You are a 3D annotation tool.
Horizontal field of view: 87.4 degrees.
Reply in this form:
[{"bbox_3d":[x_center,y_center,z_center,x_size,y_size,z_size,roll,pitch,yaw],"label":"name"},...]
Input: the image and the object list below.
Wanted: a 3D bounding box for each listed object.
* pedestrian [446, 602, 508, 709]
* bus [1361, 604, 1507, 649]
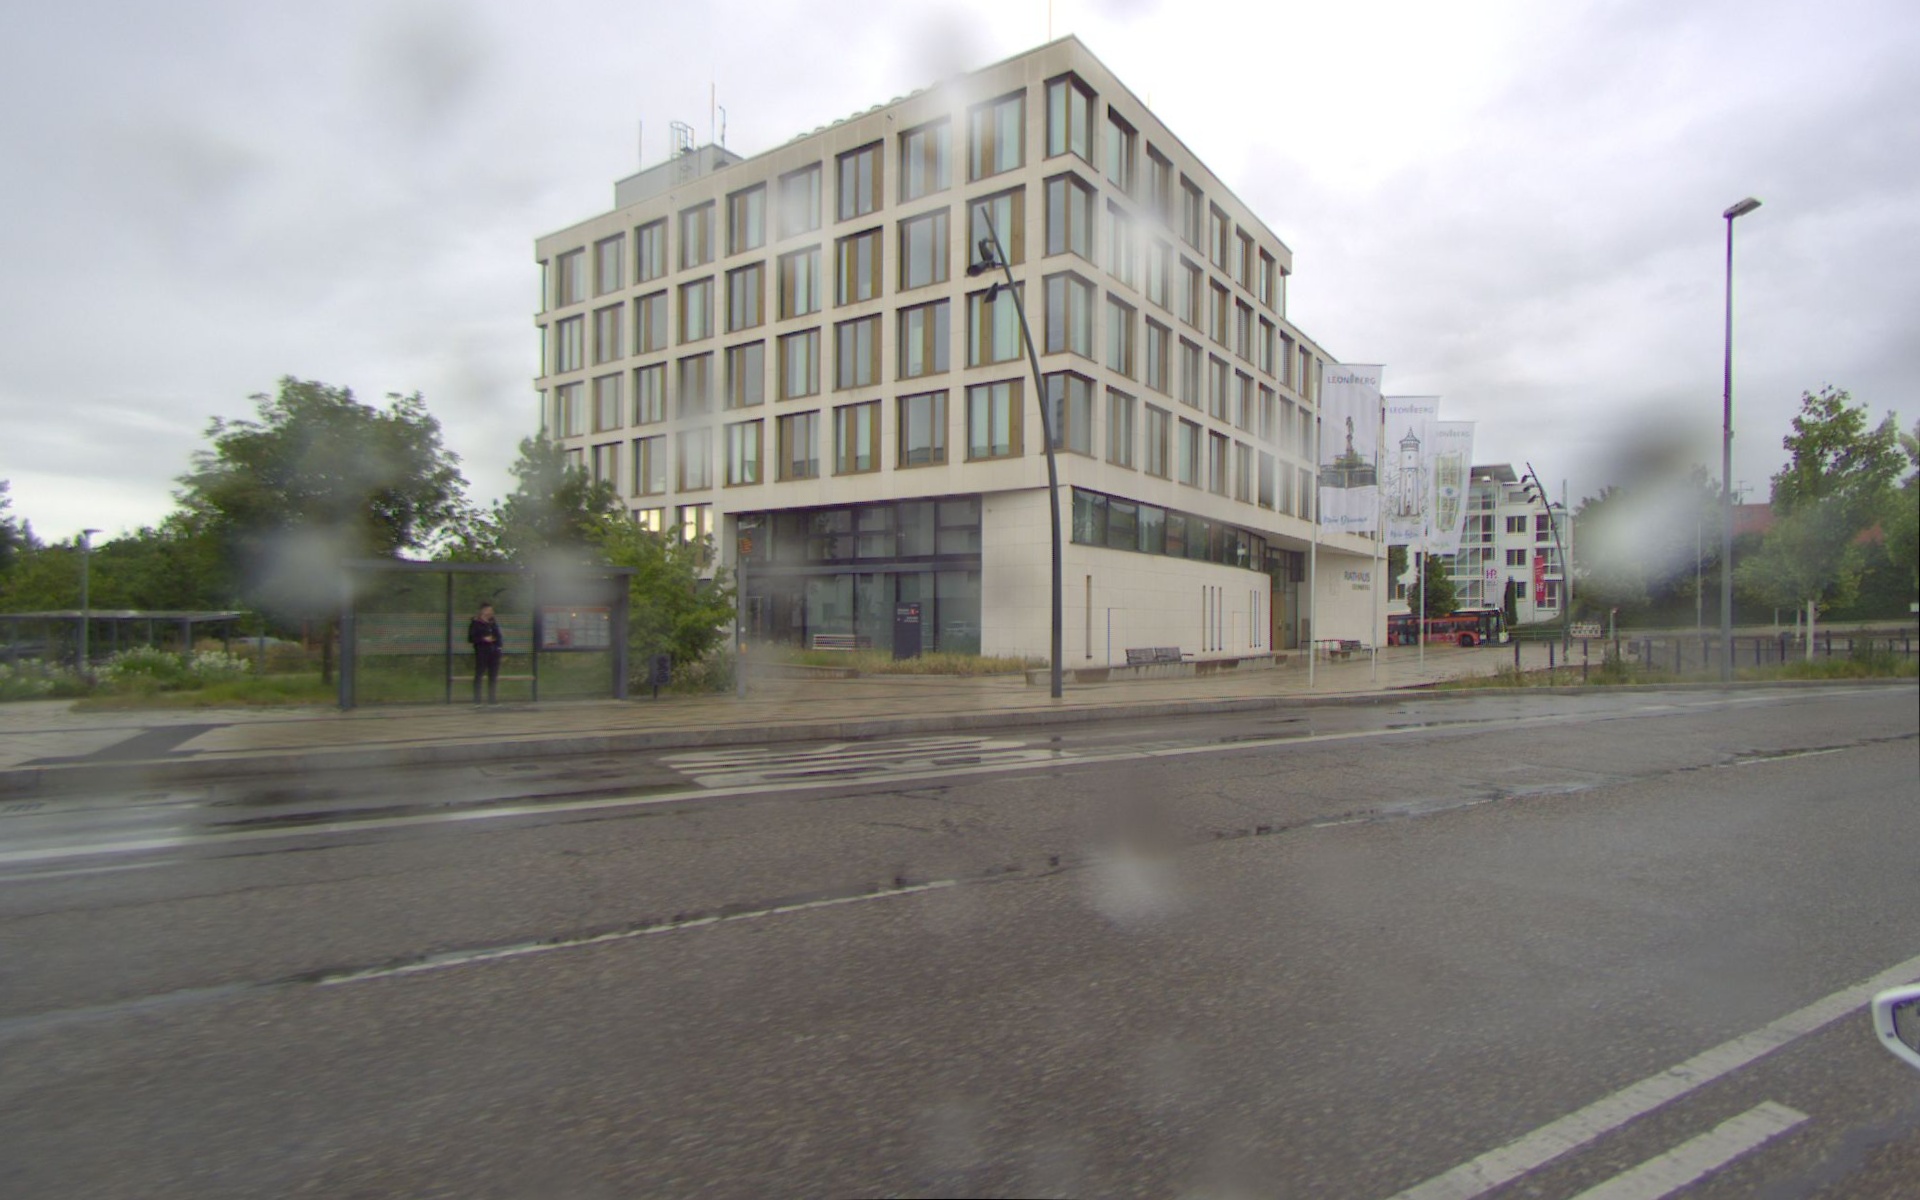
[{"bbox_3d":[-8.280,0.946,17.230,0.774,1.768,0.670,-1,-3,44],"label":"pedestrian"},{"bbox_3d":[37.584,2.090,79.919,10.235,3.324,2.855,0,-3,34],"label":"bus"}]
